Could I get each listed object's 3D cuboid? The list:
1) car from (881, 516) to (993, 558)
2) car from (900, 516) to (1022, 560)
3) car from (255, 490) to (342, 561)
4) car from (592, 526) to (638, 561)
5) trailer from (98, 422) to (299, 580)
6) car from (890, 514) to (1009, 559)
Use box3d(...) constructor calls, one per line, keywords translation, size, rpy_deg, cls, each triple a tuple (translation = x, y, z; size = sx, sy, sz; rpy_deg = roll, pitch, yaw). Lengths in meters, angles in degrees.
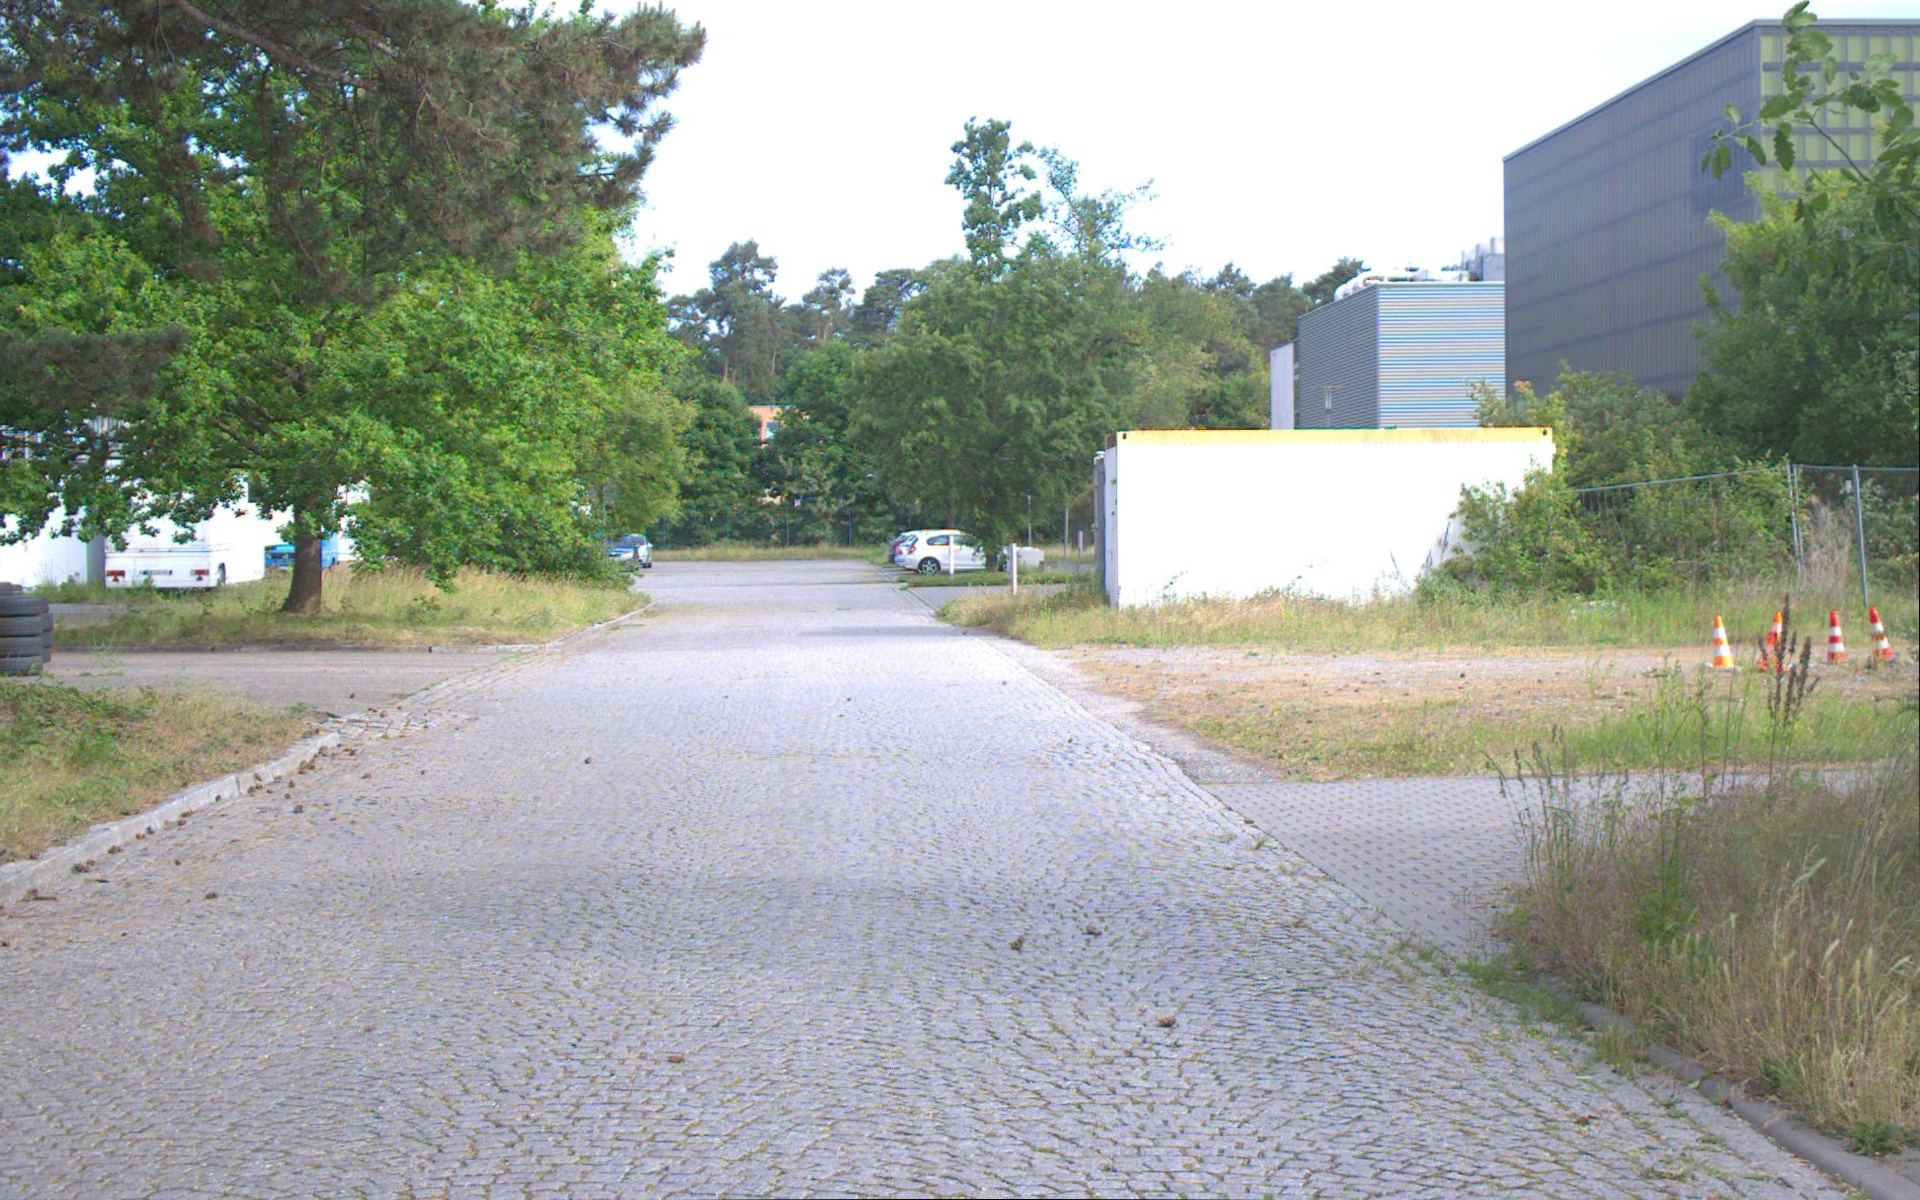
box3d(translation=(-0.854, -2.281, 124.449), size=(3.986, 1.450, 1.770), rpy_deg=(-1, 1, -2), cls="car")
box3d(translation=(0.032, -2.052, 114.363), size=(3.986, 1.450, 2.000), rpy_deg=(0, 1, -2), cls="car")
box3d(translation=(-24.177, -2.742, 125.825), size=(1.993, 2.514, 5.618), rpy_deg=(-1, 1, 1), cls="car")
box3d(translation=(-13.822, -2.265, 137.831), size=(1.748, 1.359, 4.001), rpy_deg=(-1, 1, -5), cls="car")
box3d(translation=(-18.969, -2.450, 86.334), size=(2.656, 3.693, 10.722), rpy_deg=(-1, 1, 0), cls="trailer")
box3d(translation=(-0.365, -2.152, 116.517), size=(3.986, 1.450, 1.697), rpy_deg=(-1, 1, -2), cls="car")
